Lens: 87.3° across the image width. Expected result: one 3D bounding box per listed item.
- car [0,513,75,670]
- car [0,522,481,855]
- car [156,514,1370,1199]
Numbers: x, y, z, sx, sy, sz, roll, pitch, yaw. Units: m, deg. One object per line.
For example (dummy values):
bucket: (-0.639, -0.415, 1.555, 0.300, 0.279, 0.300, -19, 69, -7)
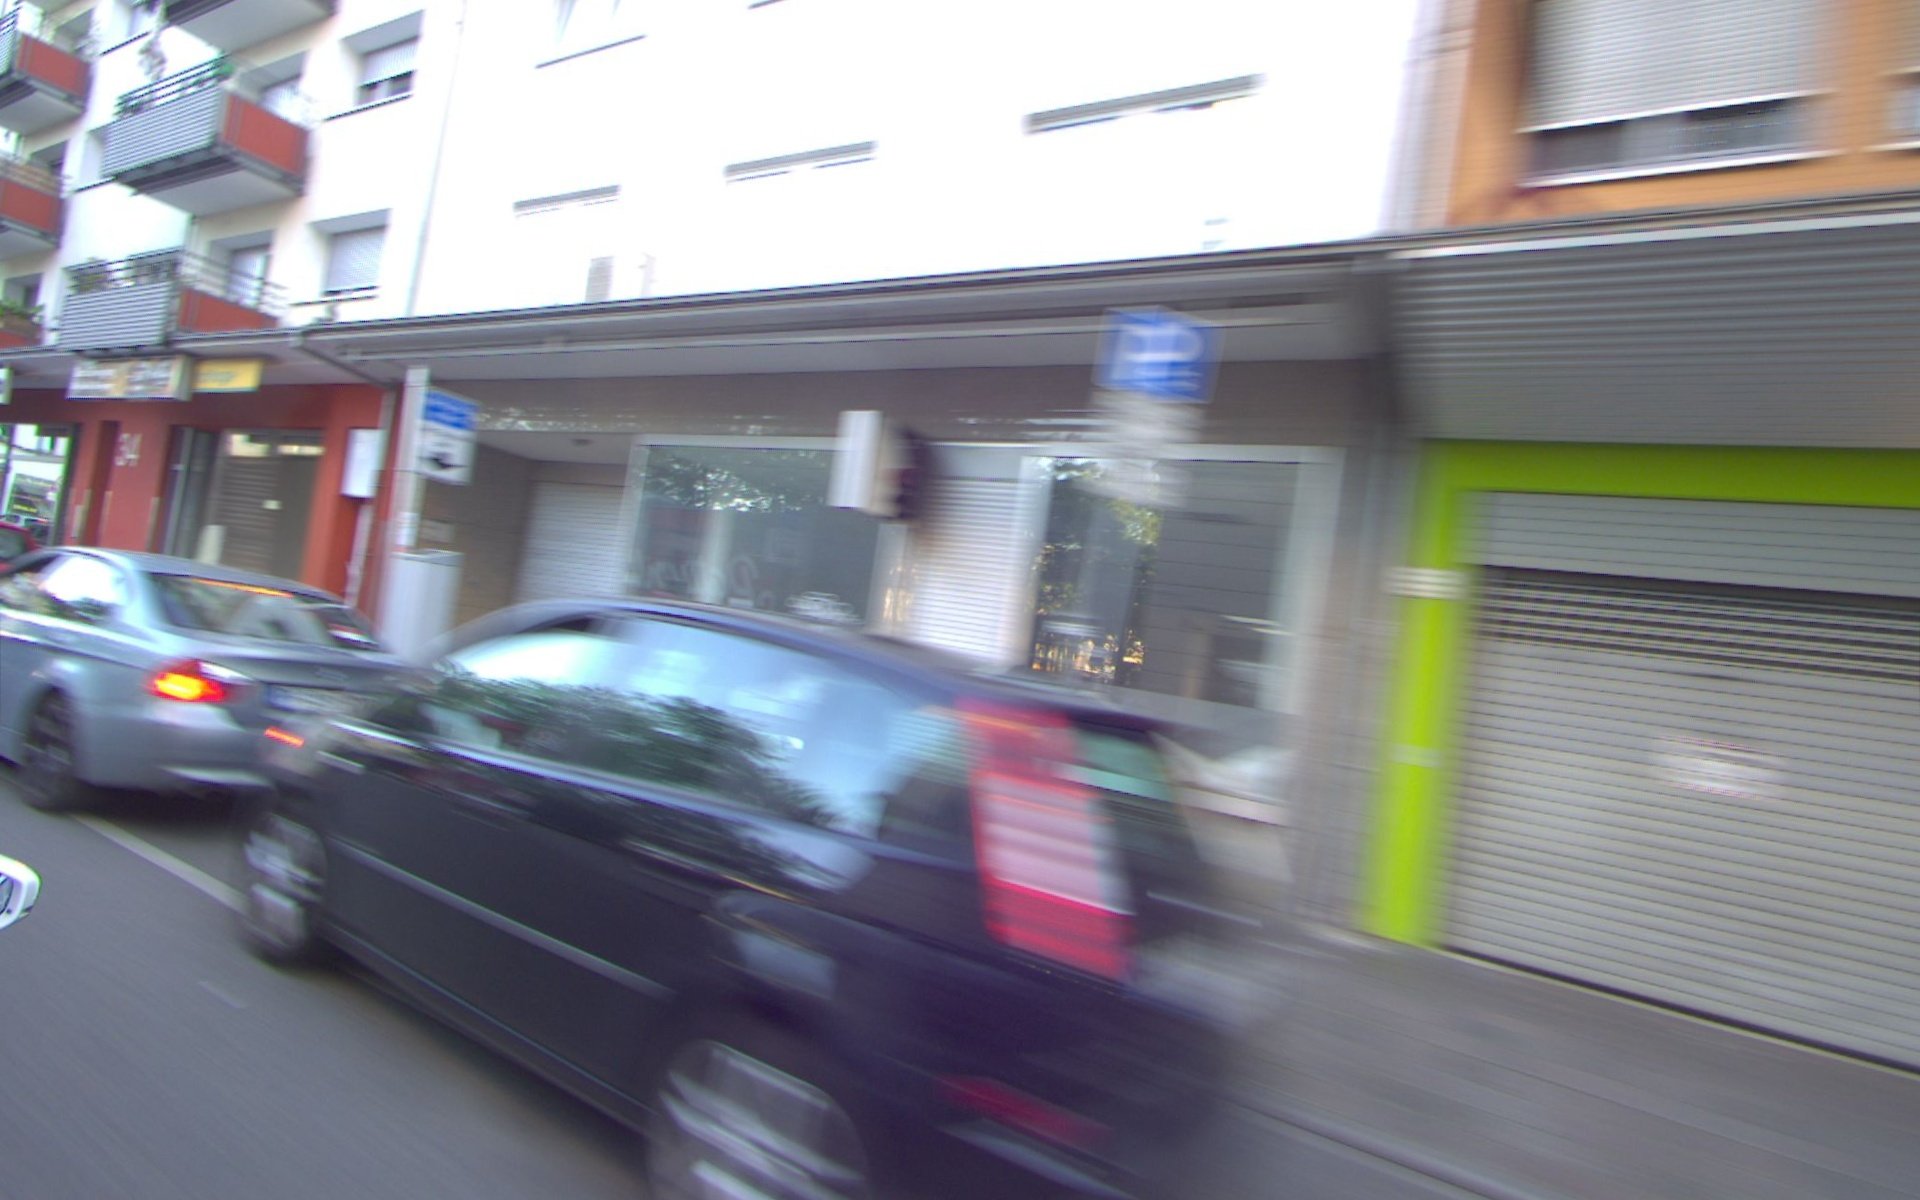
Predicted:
car: (-11.862, -0.411, 11.017, 4.573, 1.527, 1.719, 7, -5, 30)
car: (-5.507, 0.375, 6.665, 4.602, 1.429, 1.744, 7, -5, 30)
car: (-1.068, 0.780, 3.815, 4.417, 1.625, 1.799, 7, -5, 36)
